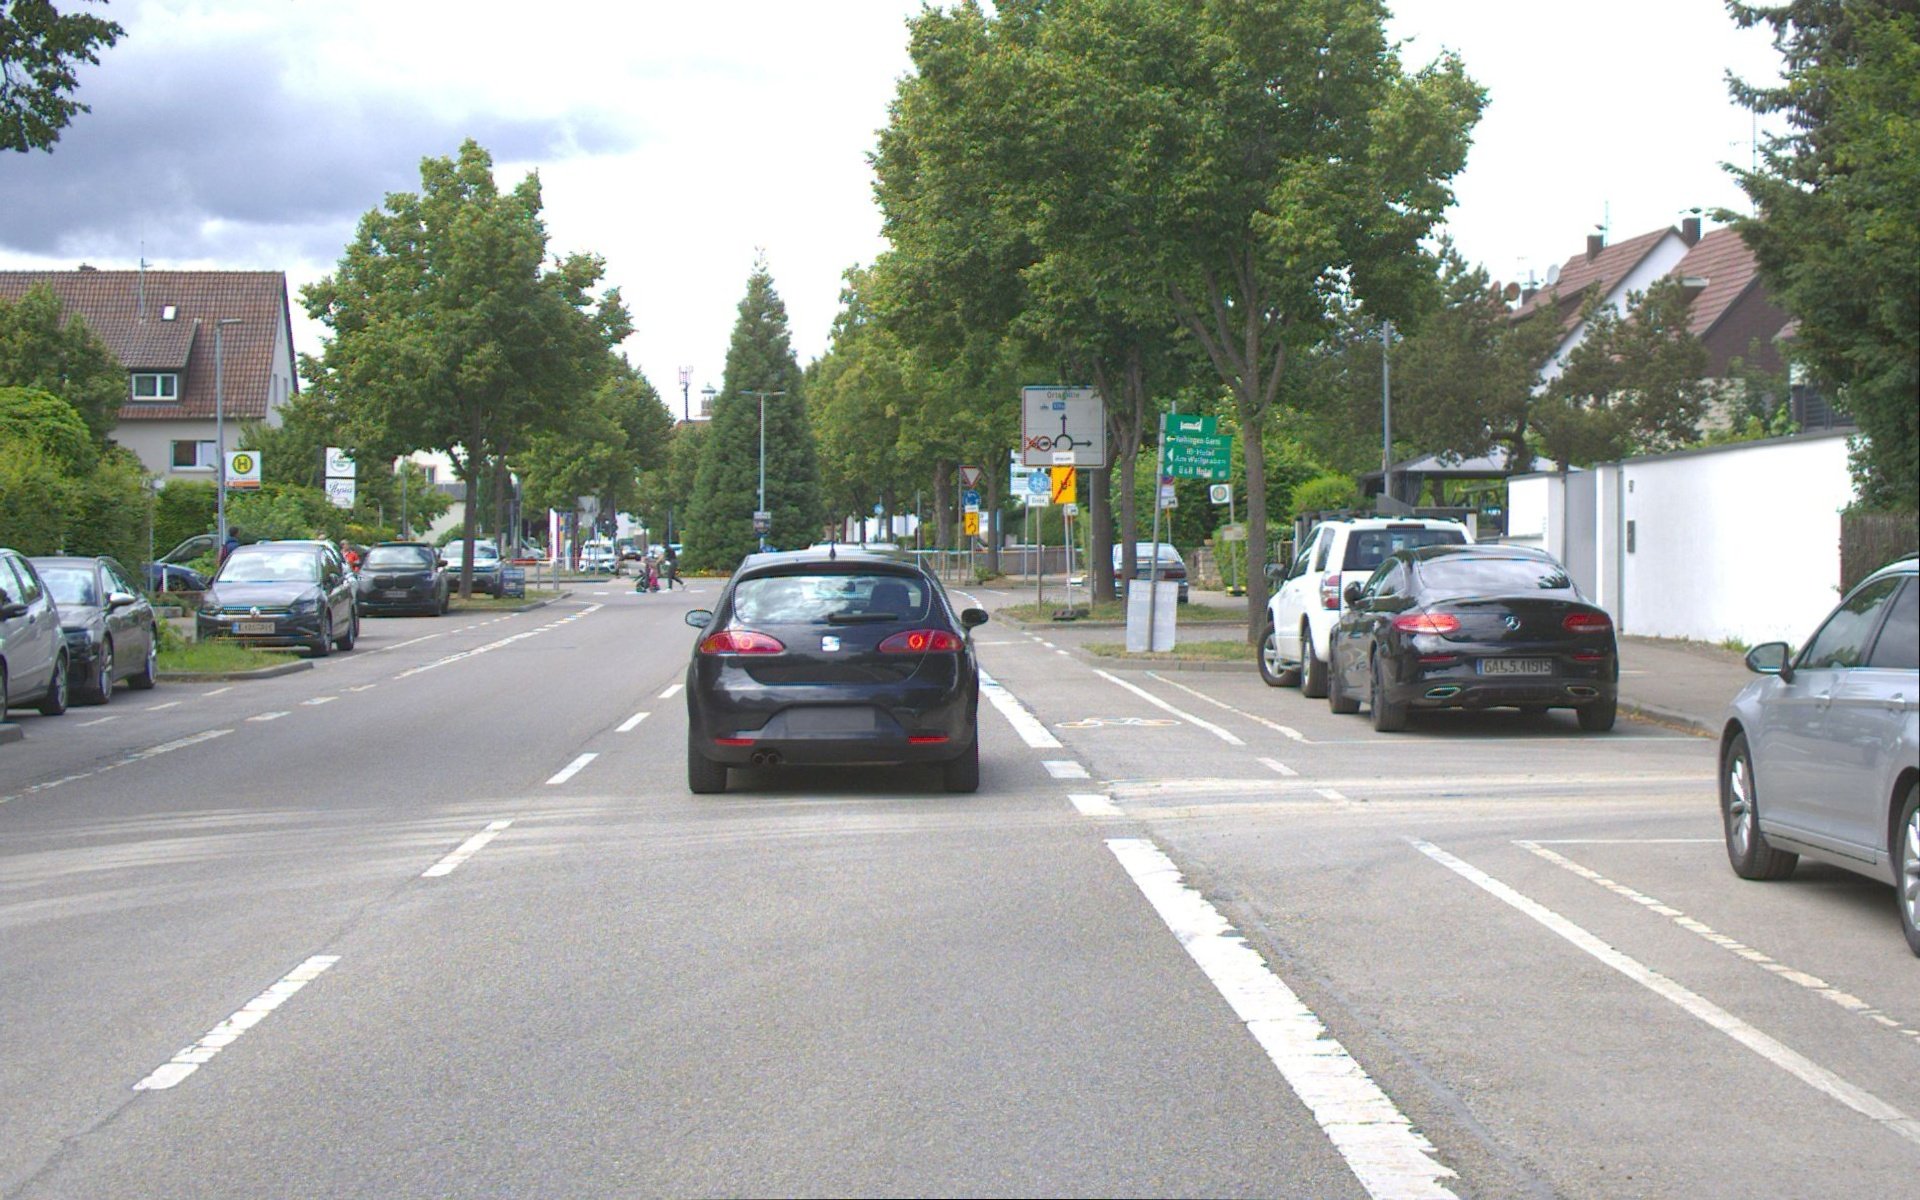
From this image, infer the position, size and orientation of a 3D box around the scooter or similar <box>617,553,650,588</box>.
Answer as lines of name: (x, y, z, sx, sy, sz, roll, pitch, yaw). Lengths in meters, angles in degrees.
scooter or similar: (-10.321, -0.935, 108.723, 0.966, 1.092, 0.407, 2, 0, 0)

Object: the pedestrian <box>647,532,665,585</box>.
pedestrian: (-9.603, -1.312, 108.746, 0.514, 1.664, 0.483, 0, 1, 0)

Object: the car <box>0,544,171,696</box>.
car: (-9.696, 0.166, 36.299, 1.993, 1.480, 4.891, -1, 1, -5)

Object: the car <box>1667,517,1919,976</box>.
car: (4.260, 0.512, 13.505, 1.861, 1.605, 4.687, 1, 1, -1)

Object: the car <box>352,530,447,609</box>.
car: (-12.571, -0.702, 77.329, 1.724, 1.719, 4.566, 0, 1, -4)

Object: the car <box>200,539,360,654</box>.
car: (-9.570, -0.089, 48.645, 1.677, 1.546, 4.273, 0, 1, -4)

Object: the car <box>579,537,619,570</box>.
car: (-17.973, -2.346, 171.426, 1.797, 1.596, 4.001, -1, 1, -4)

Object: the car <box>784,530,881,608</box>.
car: (-2.685, -0.676, 72.887, 1.993, 1.607, 4.000, 0, 1, -1)

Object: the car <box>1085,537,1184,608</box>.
car: (3.524, -0.531, 69.978, 1.611, 1.372, 4.387, 0, 0, -2)

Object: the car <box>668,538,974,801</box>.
car: (-0.790, 0.360, 21.576, 1.732, 1.481, 4.000, 1, 1, 0)

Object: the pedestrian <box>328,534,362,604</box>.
pedestrian: (-14.483, -0.732, 80.988, 0.786, 1.658, 0.754, 0, 1, -9)

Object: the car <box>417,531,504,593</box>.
car: (-13.572, -1.046, 93.601, 1.860, 1.648, 4.295, 0, 1, -2)

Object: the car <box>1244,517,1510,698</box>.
car: (3.964, 0.045, 33.307, 1.900, 1.637, 4.117, 0, 1, -3)

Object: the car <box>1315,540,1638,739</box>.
car: (3.969, 0.243, 27.143, 1.863, 1.412, 4.603, 0, 1, 0)

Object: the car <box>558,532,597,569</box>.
car: (-21.035, -2.727, 189.190, 2.029, 1.964, 4.001, -1, 1, -5)

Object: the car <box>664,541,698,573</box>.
car: (-14.121, -2.187, 174.304, 1.568, 1.628, 3.622, -1, 1, -2)

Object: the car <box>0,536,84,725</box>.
car: (-9.113, 0.247, 30.723, 1.718, 1.607, 3.911, -1, 1, -3)

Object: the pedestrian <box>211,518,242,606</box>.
pedestrian: (-15.151, -0.792, 71.035, 0.503, 1.800, 0.671, 0, 1, -3)

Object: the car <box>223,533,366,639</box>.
car: (-10.793, -0.259, 55.995, 1.820, 1.628, 4.587, -1, 1, -5)
